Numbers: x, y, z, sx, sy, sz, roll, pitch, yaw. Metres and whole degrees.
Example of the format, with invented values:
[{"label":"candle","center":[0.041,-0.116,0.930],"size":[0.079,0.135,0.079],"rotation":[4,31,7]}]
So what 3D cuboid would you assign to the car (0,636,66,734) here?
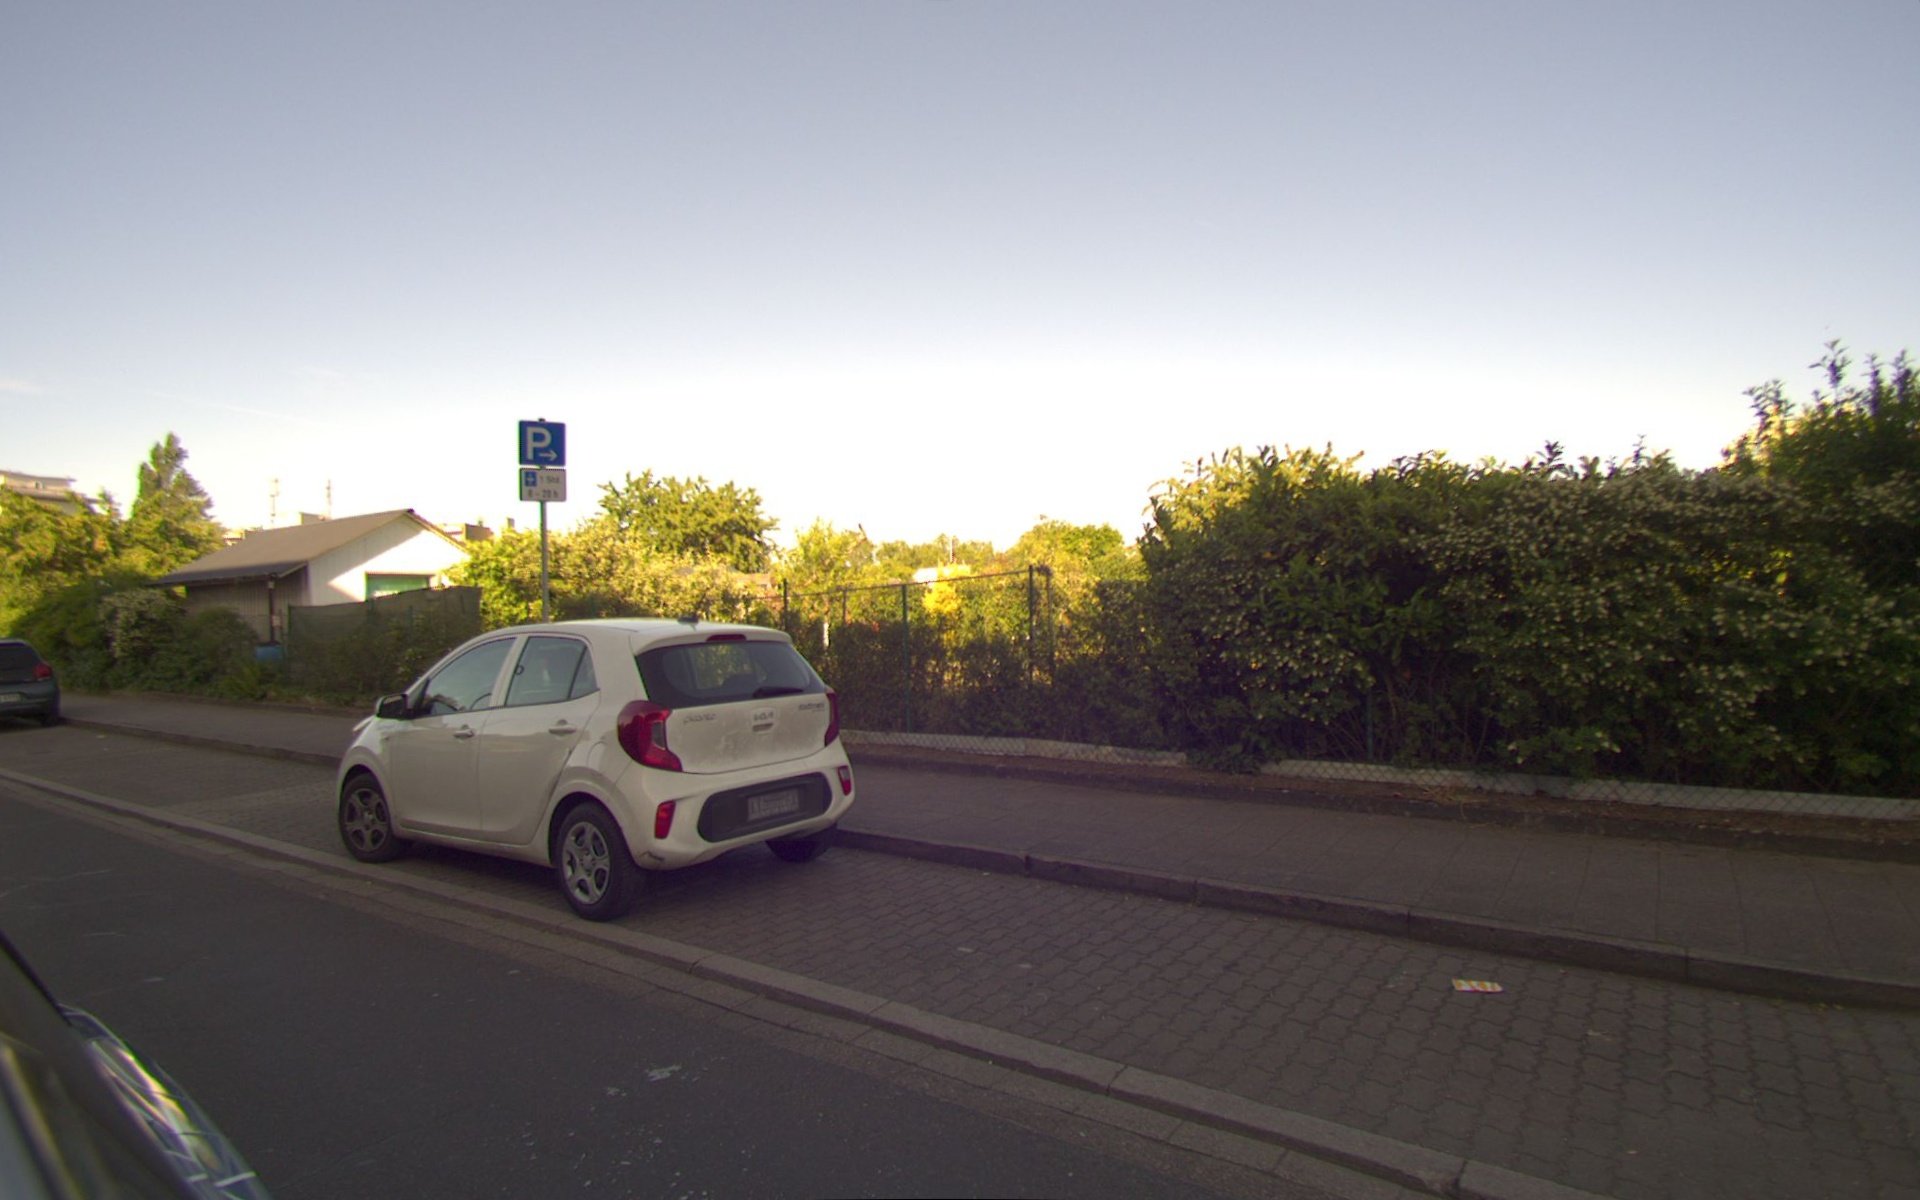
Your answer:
[{"label":"car","center":[-16.462,1.390,16.587],"size":[4.507,1.434,1.681],"rotation":[-2,1,35]}]

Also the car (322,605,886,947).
[{"label":"car","center":[-2.251,0.834,6.106],"size":[3.394,1.499,1.514],"rotation":[-2,-1,35]}]
